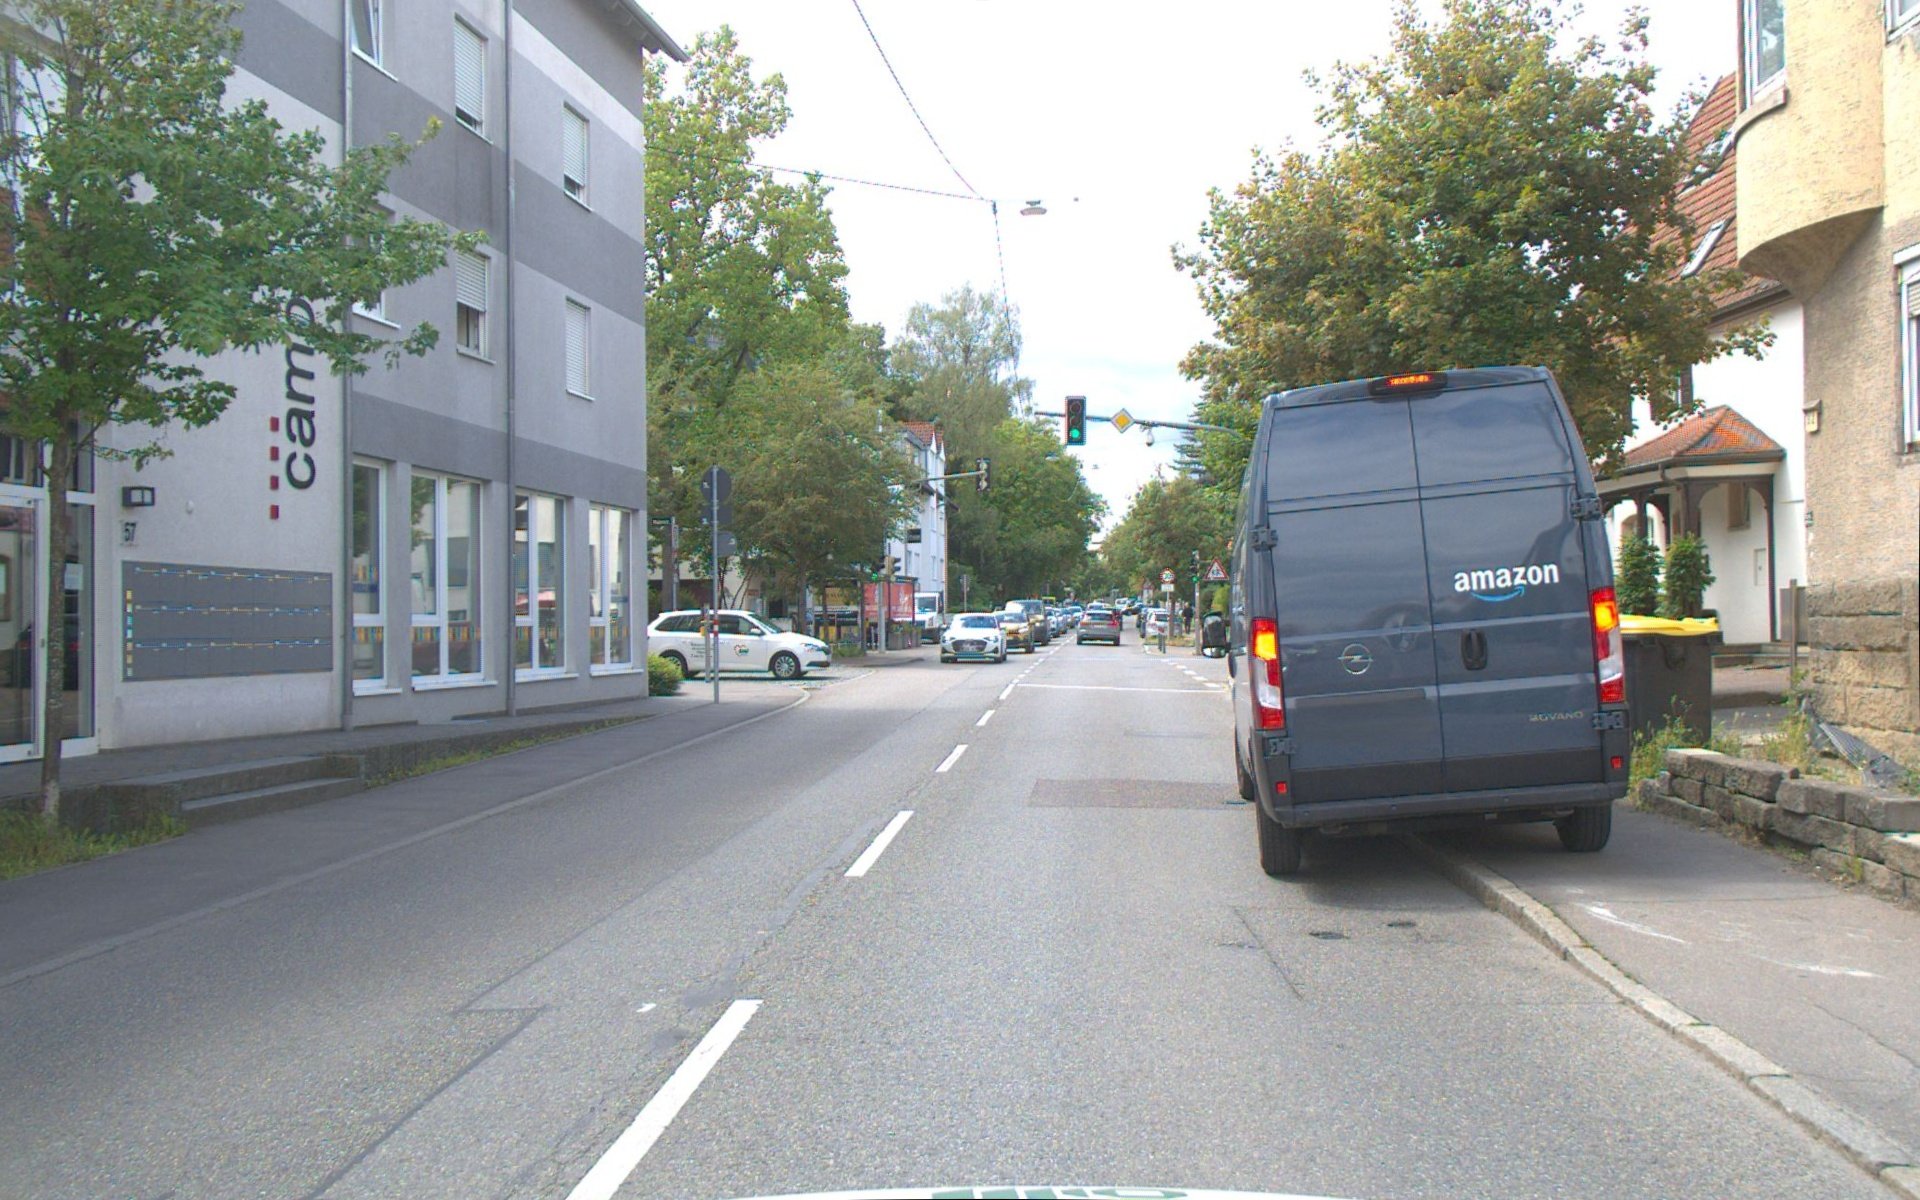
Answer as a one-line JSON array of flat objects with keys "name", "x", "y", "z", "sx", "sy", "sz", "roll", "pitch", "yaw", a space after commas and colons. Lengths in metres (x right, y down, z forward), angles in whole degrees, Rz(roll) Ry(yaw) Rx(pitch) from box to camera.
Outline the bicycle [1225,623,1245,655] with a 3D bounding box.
[{"name": "bicycle", "x": 10.471, "y": 1.466, "z": 62.961, "sx": 0.705, "sy": 1.170, "sz": 2.215, "roll": -1, "pitch": -1, "yaw": 11}]

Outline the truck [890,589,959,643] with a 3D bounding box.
[{"name": "truck", "x": -1.592, "y": 0.751, "z": 76.726, "sx": 2.177, "sy": 2.421, "sz": 6.330, "roll": -1, "pitch": -1, "yaw": 8}]

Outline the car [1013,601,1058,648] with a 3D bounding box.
[{"name": "car", "x": 3.255, "y": 1.013, "z": 70.684, "sx": 1.837, "sy": 1.946, "sz": 4.754, "roll": 0, "pitch": 0, "yaw": 4}]

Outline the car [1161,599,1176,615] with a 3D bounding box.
[{"name": "car", "x": 27.308, "y": 0.986, "z": 216.318, "sx": 1.951, "sy": 2.049, "sz": 4.003, "roll": -1, "pitch": -1, "yaw": 7}]

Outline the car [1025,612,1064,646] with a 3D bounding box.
[{"name": "car", "x": 4.429, "y": 1.492, "z": 86.160, "sx": 1.768, "sy": 1.598, "sz": 4.162, "roll": -3, "pitch": -1, "yaw": 6}]

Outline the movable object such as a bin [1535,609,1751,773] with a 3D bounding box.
[{"name": "movable object such as a bin", "x": 5.706, "y": 0.726, "z": 13.862, "sx": 1.168, "sy": 1.288, "sz": 1.199, "roll": 0, "pitch": -1, "yaw": -26}]

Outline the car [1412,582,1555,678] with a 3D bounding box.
[{"name": "car", "x": 10.121, "y": 0.543, "z": 31.794, "sx": 1.719, "sy": 1.543, "sz": 4.072, "roll": -5, "pitch": -1, "yaw": 29}]

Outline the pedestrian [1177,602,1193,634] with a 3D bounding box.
[{"name": "pedestrian", "x": 12.627, "y": 1.006, "z": 92.653, "sx": 0.861, "sy": 1.742, "sz": 0.843, "roll": 0, "pitch": -1, "yaw": 7}]

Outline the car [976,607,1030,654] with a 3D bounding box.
[{"name": "car", "x": 1.565, "y": 1.054, "z": 59.204, "sx": 1.691, "sy": 1.565, "sz": 4.002, "roll": 0, "pitch": 0, "yaw": 5}]

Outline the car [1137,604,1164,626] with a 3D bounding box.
[{"name": "car", "x": 13.466, "y": 1.076, "z": 117.186, "sx": 1.763, "sy": 1.470, "sz": 4.890, "roll": 1, "pitch": 0, "yaw": 5}]

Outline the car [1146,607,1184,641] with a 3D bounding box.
[{"name": "car", "x": 9.693, "y": 1.132, "z": 78.522, "sx": 1.665, "sy": 1.506, "sz": 4.875, "roll": 1, "pitch": 0, "yaw": 6}]

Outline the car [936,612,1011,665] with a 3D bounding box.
[{"name": "car", "x": 0.450, "y": 1.101, "z": 48.181, "sx": 1.834, "sy": 1.449, "sz": 4.118, "roll": 0, "pitch": 0, "yaw": 5}]

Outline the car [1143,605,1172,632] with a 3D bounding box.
[{"name": "car", "x": 11.715, "y": 1.075, "z": 98.300, "sx": 1.587, "sy": 1.534, "sz": 3.781, "roll": -1, "pitch": 0, "yaw": 6}]

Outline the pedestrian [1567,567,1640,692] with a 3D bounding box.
[{"name": "pedestrian", "x": 8.809, "y": 0.398, "z": 22.673, "sx": 0.768, "sy": 1.672, "sz": 0.799, "roll": -1, "pitch": -1, "yaw": 11}]

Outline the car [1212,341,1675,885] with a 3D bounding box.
[{"name": "car", "x": 2.996, "y": 0.090, "z": 11.795, "sx": 2.102, "sy": 2.819, "sz": 6.253, "roll": -1, "pitch": 0, "yaw": 7}]

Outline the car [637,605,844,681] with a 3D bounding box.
[{"name": "car", "x": -4.693, "y": 0.909, "z": 35.681, "sx": 4.122, "sy": 1.540, "sz": 1.823, "roll": 0, "pitch": 1, "yaw": 5}]

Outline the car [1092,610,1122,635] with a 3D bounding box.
[{"name": "car", "x": 9.401, "y": 1.433, "z": 105.736, "sx": 1.777, "sy": 1.527, "sz": 4.270, "roll": 0, "pitch": 0, "yaw": 7}]

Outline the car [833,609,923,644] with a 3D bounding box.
[{"name": "car", "x": -3.428, "y": 1.110, "z": 69.551, "sx": 3.616, "sy": 1.450, "sz": 1.805, "roll": 0, "pitch": 0, "yaw": 2}]

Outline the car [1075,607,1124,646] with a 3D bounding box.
[{"name": "car", "x": 6.065, "y": 1.114, "z": 71.470, "sx": 1.934, "sy": 1.539, "sz": 4.270, "roll": 3, "pitch": 0, "yaw": 6}]

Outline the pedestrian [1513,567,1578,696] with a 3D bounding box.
[{"name": "pedestrian", "x": 8.380, "y": 0.445, "z": 23.694, "sx": 0.724, "sy": 1.814, "sz": 0.900, "roll": -1, "pitch": -1, "yaw": 11}]
